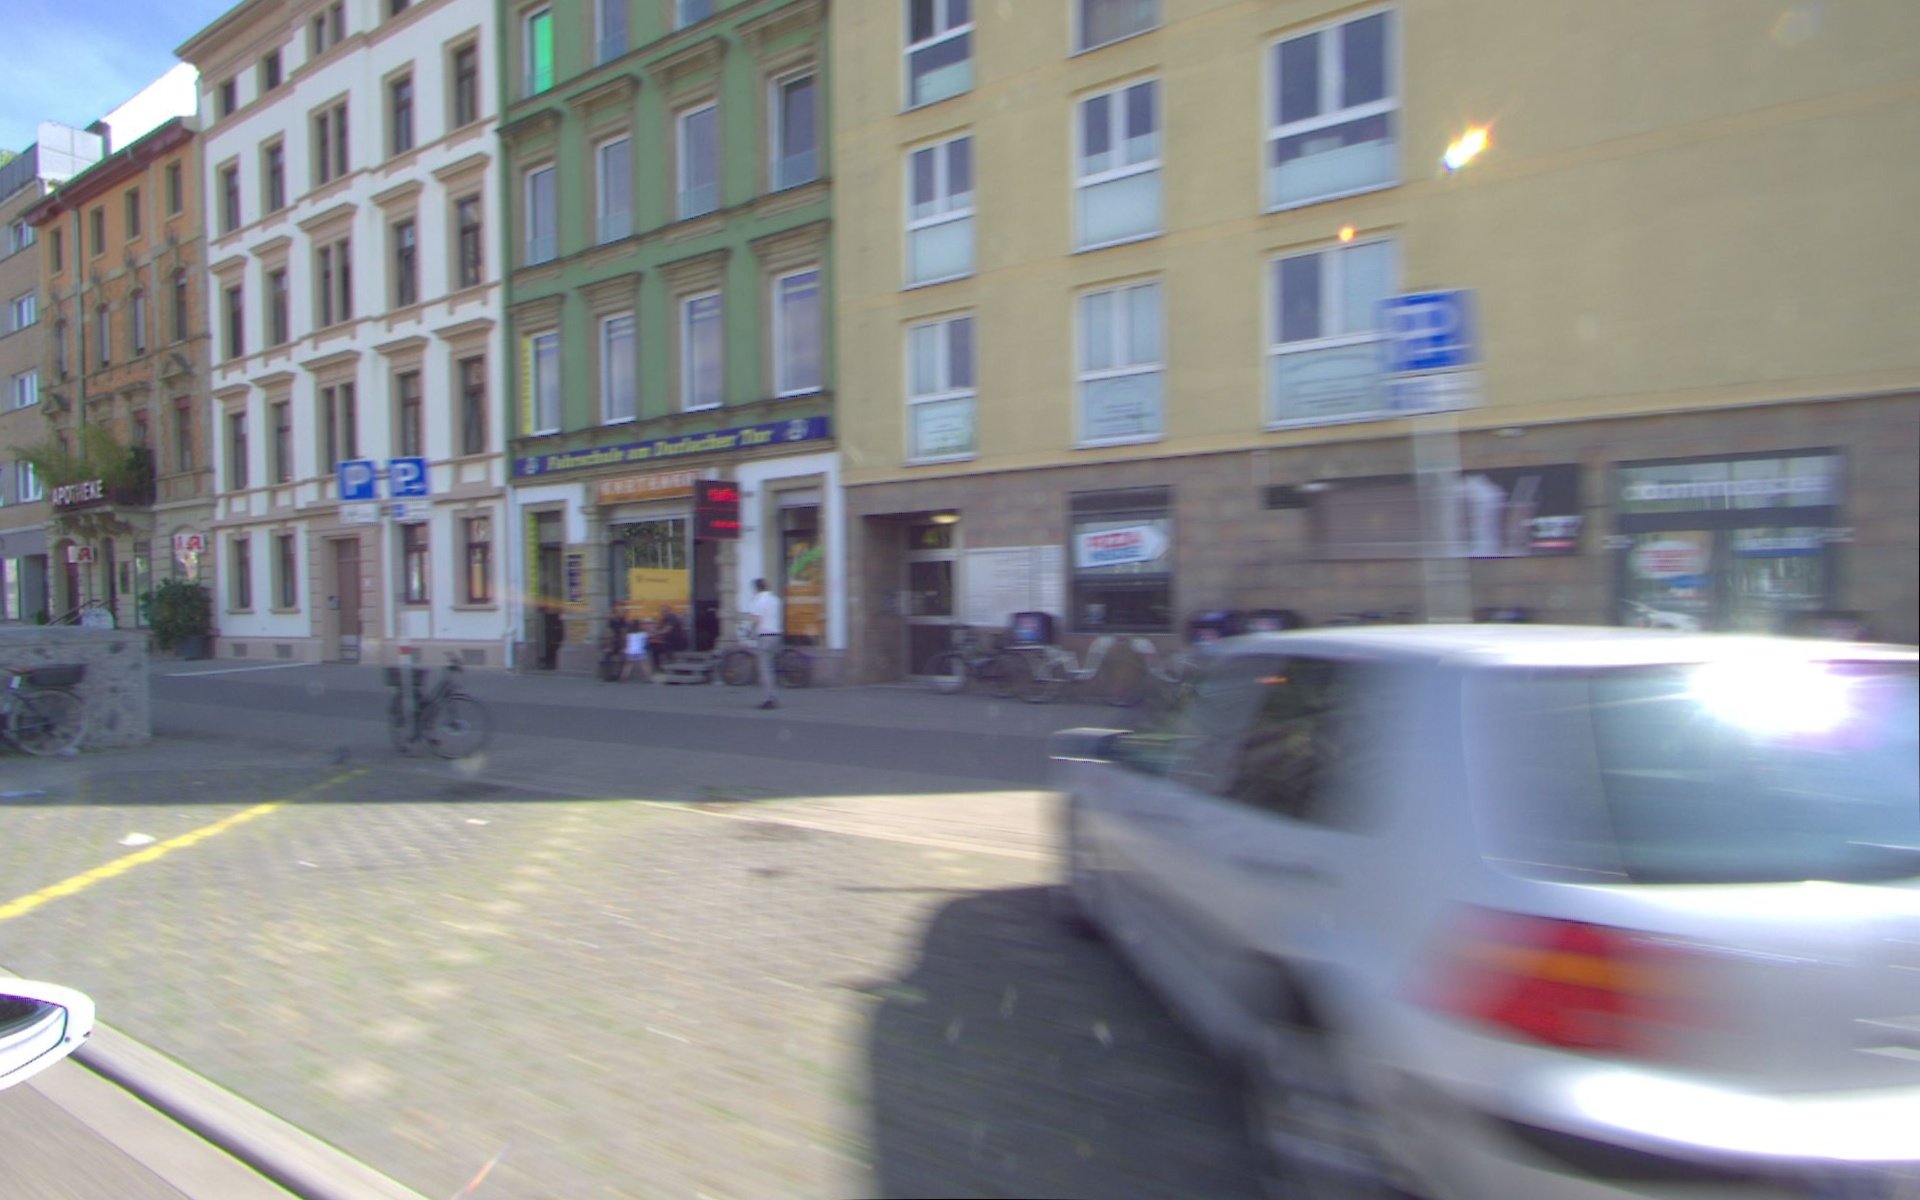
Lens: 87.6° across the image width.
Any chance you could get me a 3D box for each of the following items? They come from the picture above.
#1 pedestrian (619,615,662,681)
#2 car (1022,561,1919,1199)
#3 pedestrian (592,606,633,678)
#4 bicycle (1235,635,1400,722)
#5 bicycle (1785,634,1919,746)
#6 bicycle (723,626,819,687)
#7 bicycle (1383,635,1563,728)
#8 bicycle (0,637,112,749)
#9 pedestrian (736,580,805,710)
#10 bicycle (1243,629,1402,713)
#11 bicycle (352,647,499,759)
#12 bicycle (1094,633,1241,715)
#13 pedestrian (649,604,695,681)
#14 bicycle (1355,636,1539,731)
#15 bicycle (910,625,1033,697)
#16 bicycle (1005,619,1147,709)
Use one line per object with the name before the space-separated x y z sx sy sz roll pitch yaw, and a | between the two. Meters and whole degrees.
pedestrian | -5.893 0.876 18.477 0.522 1.183 0.524 0 1 32
car | 1.456 0.753 3.500 1.779 1.458 4.000 1 -2 -7
pedestrian | -6.682 0.797 19.266 0.522 1.372 0.524 0 1 32
bicycle | 4.168 0.888 11.709 1.731 0.928 0.581 -1 1 31
bicycle | 8.796 0.824 9.286 1.734 0.978 0.580 -1 1 38
bicycle | -3.231 0.948 17.082 1.754 0.978 0.412 -1 3 31
bicycle | 5.781 0.888 11.341 1.736 0.928 0.579 0 1 40
bicycle | -10.159 0.989 10.573 0.588 1.109 1.739 1 1 32
pedestrian | -2.650 0.612 14.014 0.693 1.769 0.608 0 1 32
bicycle | 4.391 0.832 12.185 1.732 0.928 0.580 -1 1 33
bicycle | -5.973 1.106 11.165 1.794 1.110 0.580 -1 3 33
bicycle | 2.636 0.920 12.804 1.731 0.940 0.580 -1 3 31
pedestrian | -5.370 0.783 18.680 0.637 1.392 0.524 0 1 32
bicycle | 5.324 0.883 11.015 1.736 0.928 0.579 0 1 40
bicycle | 0.160 0.884 14.837 1.754 0.978 0.580 -1 3 31
bicycle | 1.537 0.830 13.431 1.793 1.110 0.580 -1 3 31
